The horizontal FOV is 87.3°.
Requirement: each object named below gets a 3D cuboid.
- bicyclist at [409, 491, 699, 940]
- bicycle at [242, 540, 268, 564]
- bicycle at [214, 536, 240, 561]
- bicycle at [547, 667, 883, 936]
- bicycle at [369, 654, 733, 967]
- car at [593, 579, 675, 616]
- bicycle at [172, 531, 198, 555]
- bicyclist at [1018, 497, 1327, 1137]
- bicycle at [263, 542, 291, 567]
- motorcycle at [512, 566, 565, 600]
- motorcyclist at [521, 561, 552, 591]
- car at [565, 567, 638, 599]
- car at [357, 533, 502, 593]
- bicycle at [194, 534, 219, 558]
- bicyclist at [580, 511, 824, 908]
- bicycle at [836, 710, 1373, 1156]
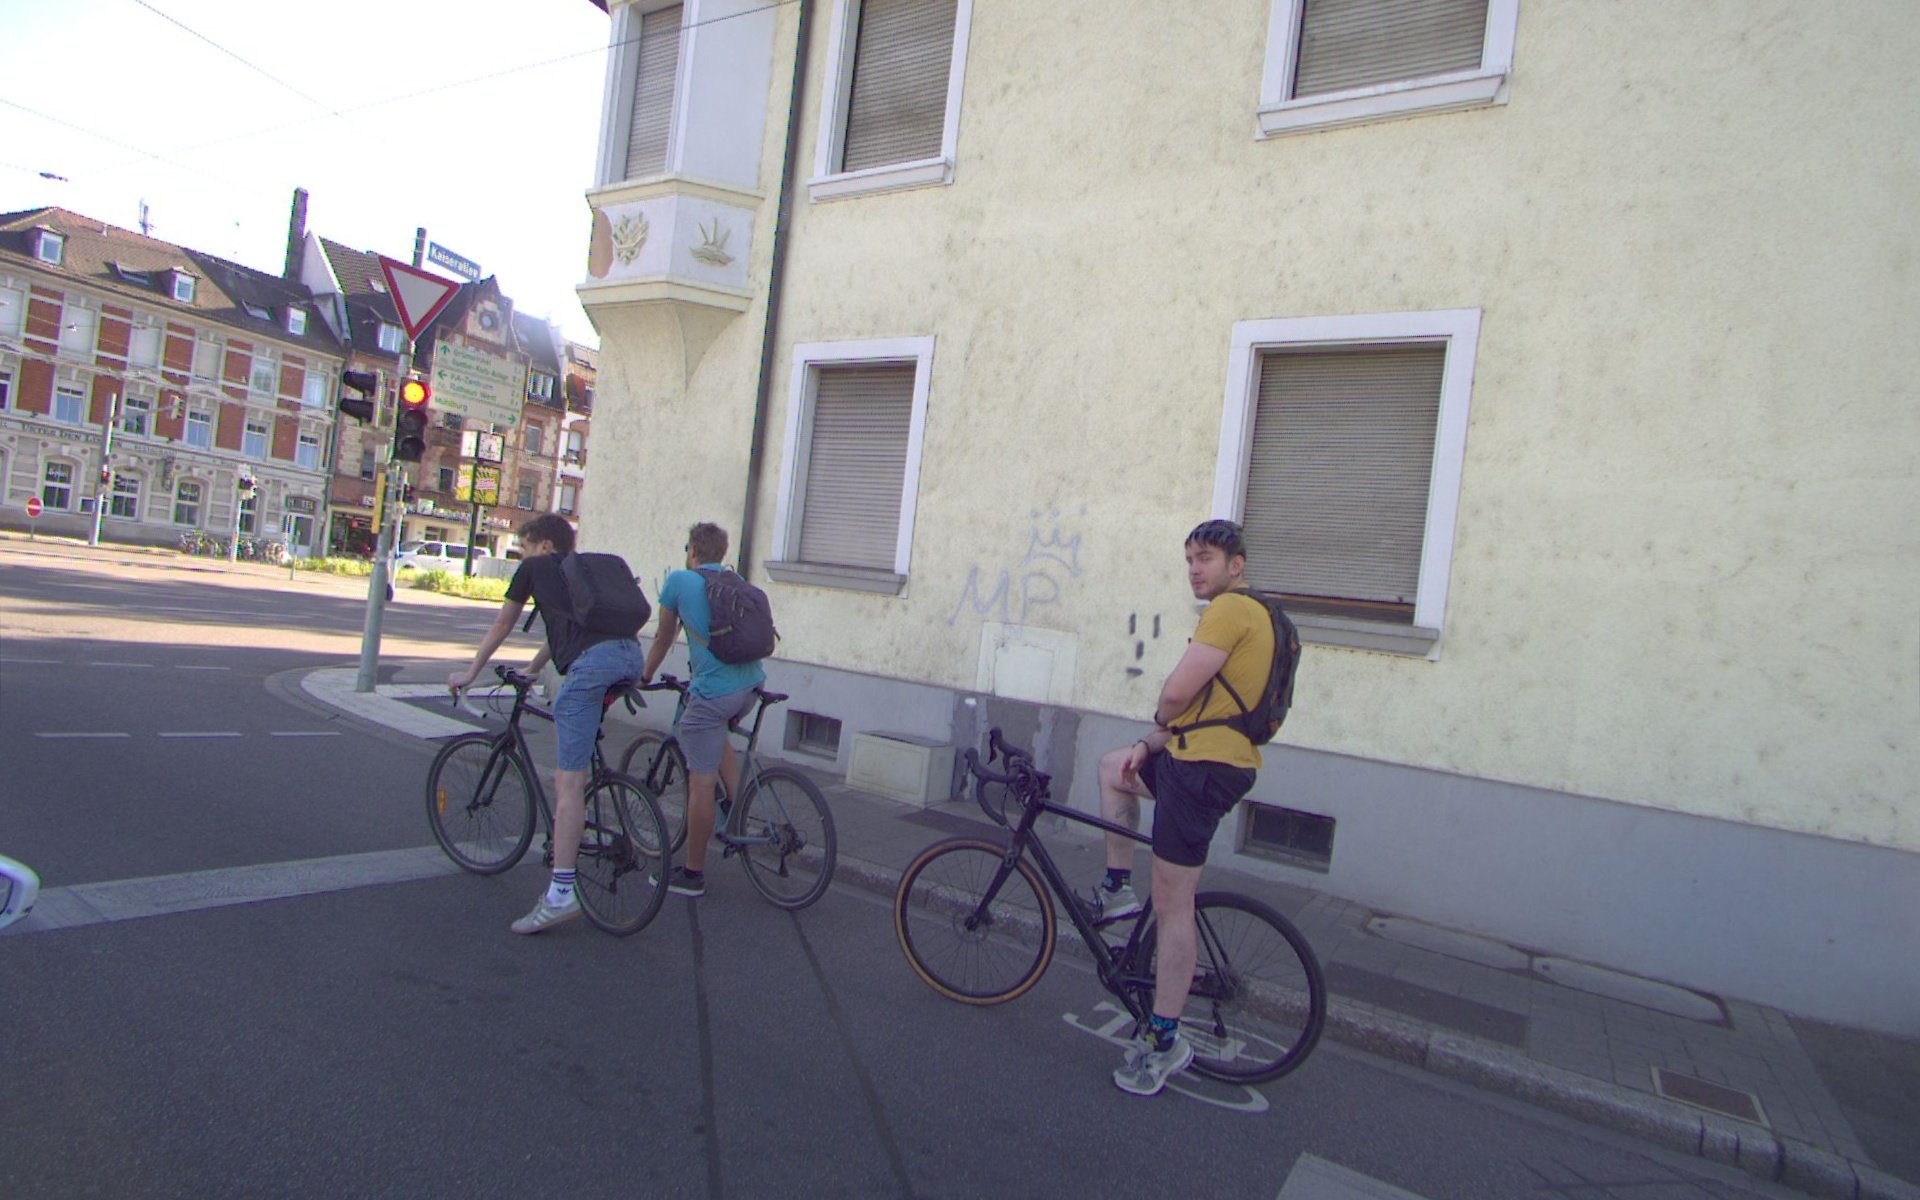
[{"bbox_3d":[-1.830,0.466,4.544,0.920,1.787,0.590,6,-1,32],"label":"bicyclist"},{"bbox_3d":[-33.616,-2.304,47.976,0.762,1.019,2.196,8,-2,-39],"label":"bicycle"},{"bbox_3d":[-34.278,-2.416,47.046,0.762,0.995,2.186,8,-2,-39],"label":"bicycle"},{"bbox_3d":[-1.311,0.965,5.218,1.753,0.995,0.504,6,-1,32],"label":"bicycle"},{"bbox_3d":[-1.896,0.862,4.551,1.753,1.003,0.482,6,-1,32],"label":"bicycle"},{"bbox_3d":[-17.204,-0.123,53.225,1.569,1.443,3.876,7,-1,32],"label":"car"},{"bbox_3d":[-35.356,-2.605,45.873,0.762,0.974,2.186,8,-2,-39],"label":"bicycle"},{"bbox_3d":[0.803,0.708,3.703,0.763,1.990,0.783,7,0,18],"label":"bicyclist"},{"bbox_3d":[-33.036,-2.201,48.645,0.789,1.027,2.186,8,-2,-39],"label":"bicycle"},{"bbox_3d":[-20.360,-0.799,48.627,0.784,1.349,2.137,6,-2,36],"label":"motorcycle"},{"bbox_3d":[-20.411,-1.156,48.504,0.777,1.315,1.015,6,-2,36],"label":"motorcyclist"},{"bbox_3d":[-23.173,-1.094,65.096,1.842,1.454,3.985,6,-2,35],"label":"car"},{"bbox_3d":[-23.199,-1.565,44.218,1.967,1.876,5.207,7,-1,32],"label":"car"},{"bbox_3d":[-34.754,-2.504,46.398,0.762,0.979,2.186,8,-2,-39],"label":"bicycle"},{"bbox_3d":[-1.355,0.524,5.280,0.960,1.868,0.504,6,-1,32],"label":"bicyclist"},{"bbox_3d":[0.539,1.117,3.804,1.709,1.119,0.783,7,-1,18],"label":"bicycle"}]
